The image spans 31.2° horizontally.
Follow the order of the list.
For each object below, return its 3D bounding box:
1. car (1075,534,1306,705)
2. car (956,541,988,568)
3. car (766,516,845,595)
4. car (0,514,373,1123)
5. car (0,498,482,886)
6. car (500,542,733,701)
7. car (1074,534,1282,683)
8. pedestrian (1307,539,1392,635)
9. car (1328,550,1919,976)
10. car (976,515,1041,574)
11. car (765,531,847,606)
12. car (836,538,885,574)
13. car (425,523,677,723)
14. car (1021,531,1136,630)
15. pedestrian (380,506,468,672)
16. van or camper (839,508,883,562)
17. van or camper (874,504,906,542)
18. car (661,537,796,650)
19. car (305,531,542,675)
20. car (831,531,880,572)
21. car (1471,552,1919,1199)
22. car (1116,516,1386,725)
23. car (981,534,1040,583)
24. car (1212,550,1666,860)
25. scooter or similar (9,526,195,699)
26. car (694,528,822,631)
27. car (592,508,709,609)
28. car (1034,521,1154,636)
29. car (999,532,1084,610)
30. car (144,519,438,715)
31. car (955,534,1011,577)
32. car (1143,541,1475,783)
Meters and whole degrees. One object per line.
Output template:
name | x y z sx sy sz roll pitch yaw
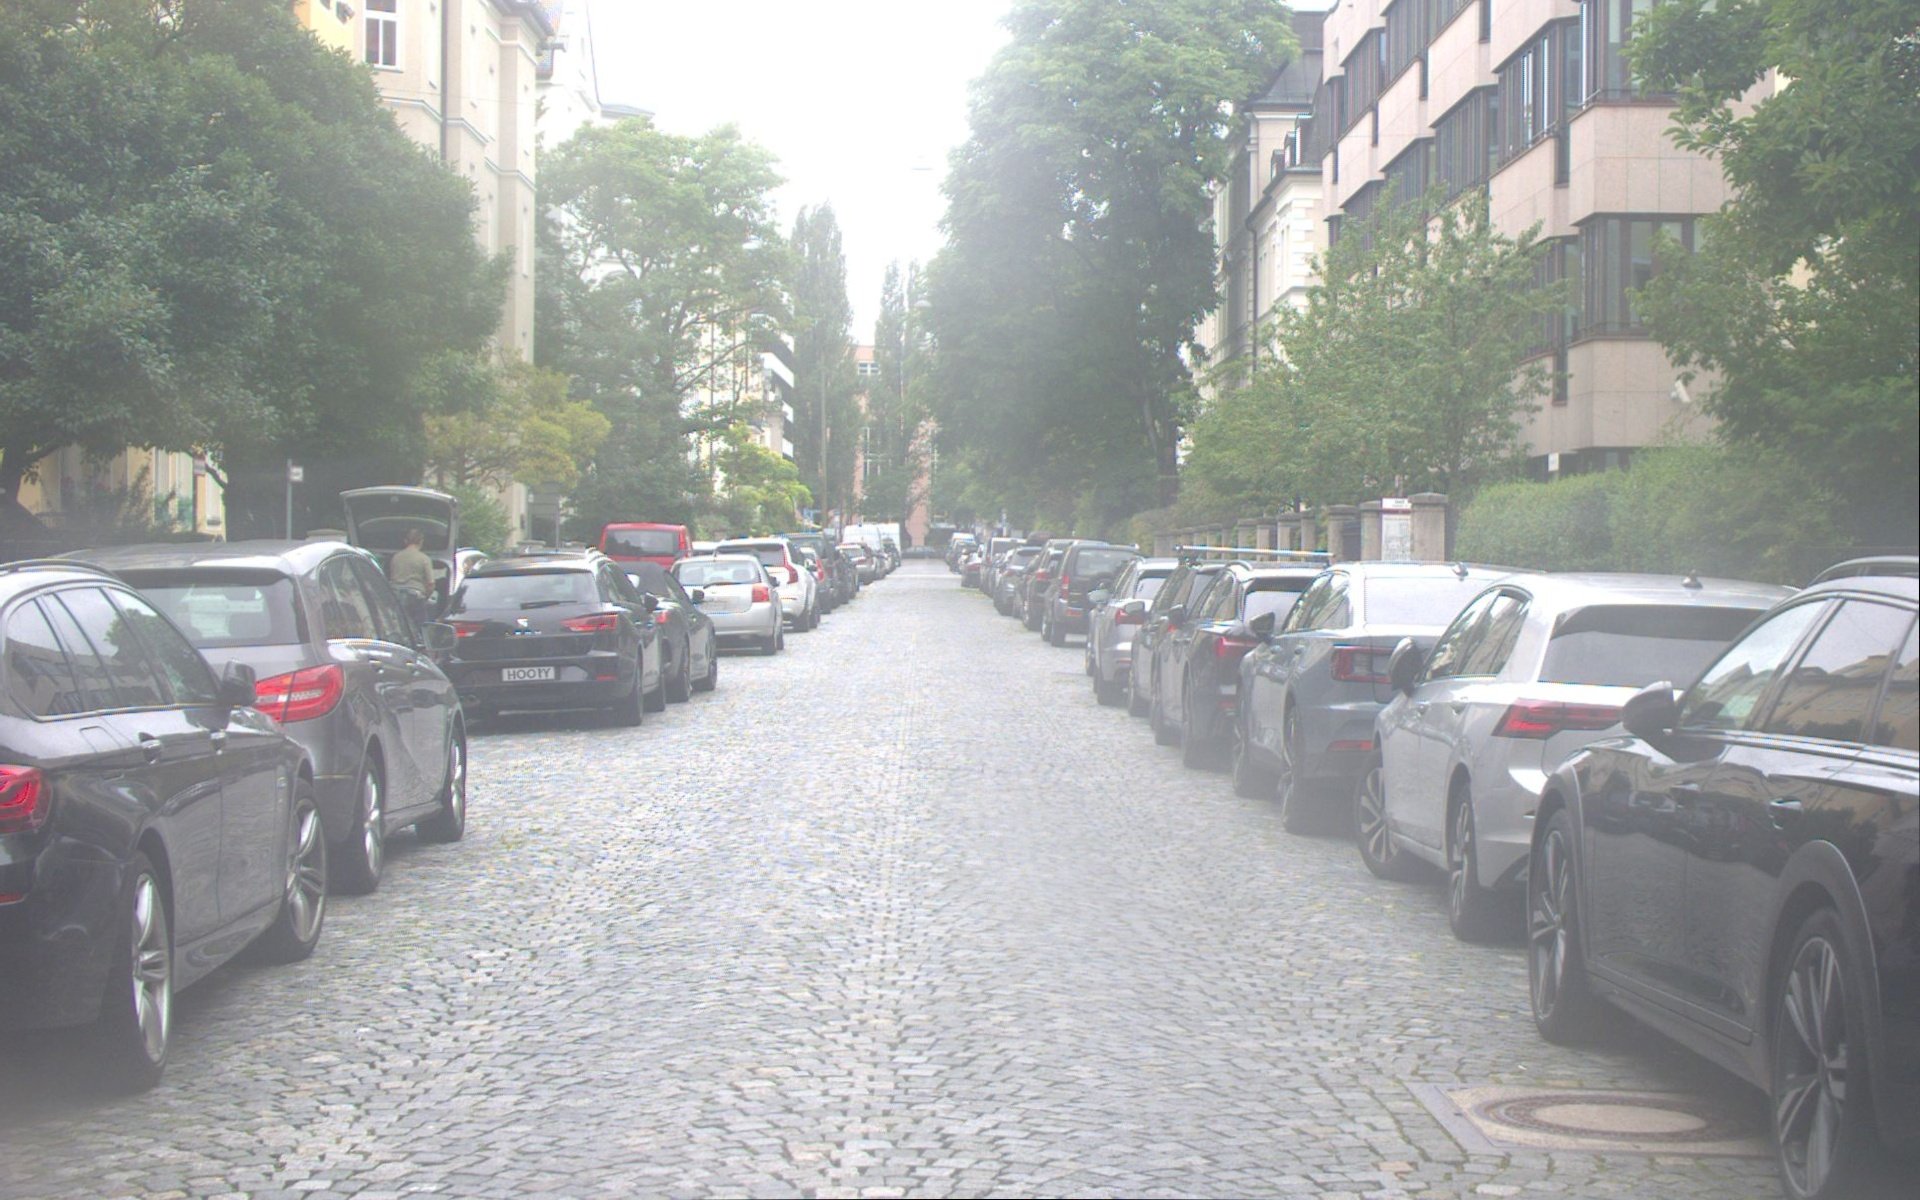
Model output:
car | 2.273 0.144 35.164 1.993 1.546 4.986 2 1 0
car | 0.678 -2.582 193.758 1.790 1.515 4.000 1 1 0
car | -3.955 -1.162 88.806 1.873 1.910 4.828 -2 1 -1
car | -3.139 0.500 10.807 1.870 1.465 5.134 -1 1 -2
car | -3.321 0.350 16.338 1.739 1.580 4.193 -1 1 -4
car | -3.430 0.171 35.142 1.814 1.450 4.913 -2 1 0
car | 2.490 0.049 40.430 1.993 1.546 5.015 3 1 -1
pedestrian | 6.248 -0.211 55.191 1.217 1.488 1.129 -2 1 2
car | 2.729 0.560 14.683 1.755 1.455 4.480 3 1 0
car | 1.668 -1.948 120.061 1.873 1.921 5.165 3 1 -3
car | -3.769 -0.794 83.685 1.865 1.729 4.404 -2 1 -3
car | -4.569 -2.017 157.923 1.873 1.574 4.208 3 1 3
car | -3.499 0.154 30.147 1.739 1.598 4.537 -1 1 -1
car | 2.199 -0.403 65.082 1.860 1.696 4.813 3 1 -1
pedestrian | -5.419 -0.116 34.804 0.766 1.644 0.582 1 1 1
van or camper | -4.951 -3.265 172.798 1.993 2.643 4.000 -2 1 0
van or camper | -5.246 -5.747 257.488 2.256 2.733 5.098 1 1 0
car | -3.386 -0.133 50.868 1.713 1.557 4.391 -1 1 -1
car | -5.724 -0.007 37.181 1.776 1.412 4.561 2 1 0
car | -4.270 -1.975 140.138 1.873 1.574 4.256 -2 1 -3
car | 2.714 0.676 9.017 1.904 1.497 5.106 3 1 0
car | 2.476 0.132 30.269 1.893 1.648 4.294 2 1 -1
car | 1.667 -1.381 114.363 1.837 1.485 4.421 3 1 0
car | 2.619 0.499 19.934 1.882 1.483 4.814 3 1 0
scooter or similar | -7.818 0.085 31.465 1.062 1.518 2.635 0 1 0
car | -3.728 -0.413 64.235 2.006 1.802 5.174 -1 1 0
car | -6.250 -0.857 69.921 1.994 1.924 5.331 2 1 -2
car | 2.172 -0.383 56.613 1.618 1.745 3.887 3 1 -2
car | 1.906 -0.701 81.521 1.873 1.729 4.892 3 1 1
car | -5.747 0.106 30.023 1.739 1.531 4.467 2 1 -1
car | 0.865 -1.720 132.064 1.873 1.498 4.512 3 1 -3
car | 2.421 0.368 25.067 1.819 1.483 5.050 3 1 0
